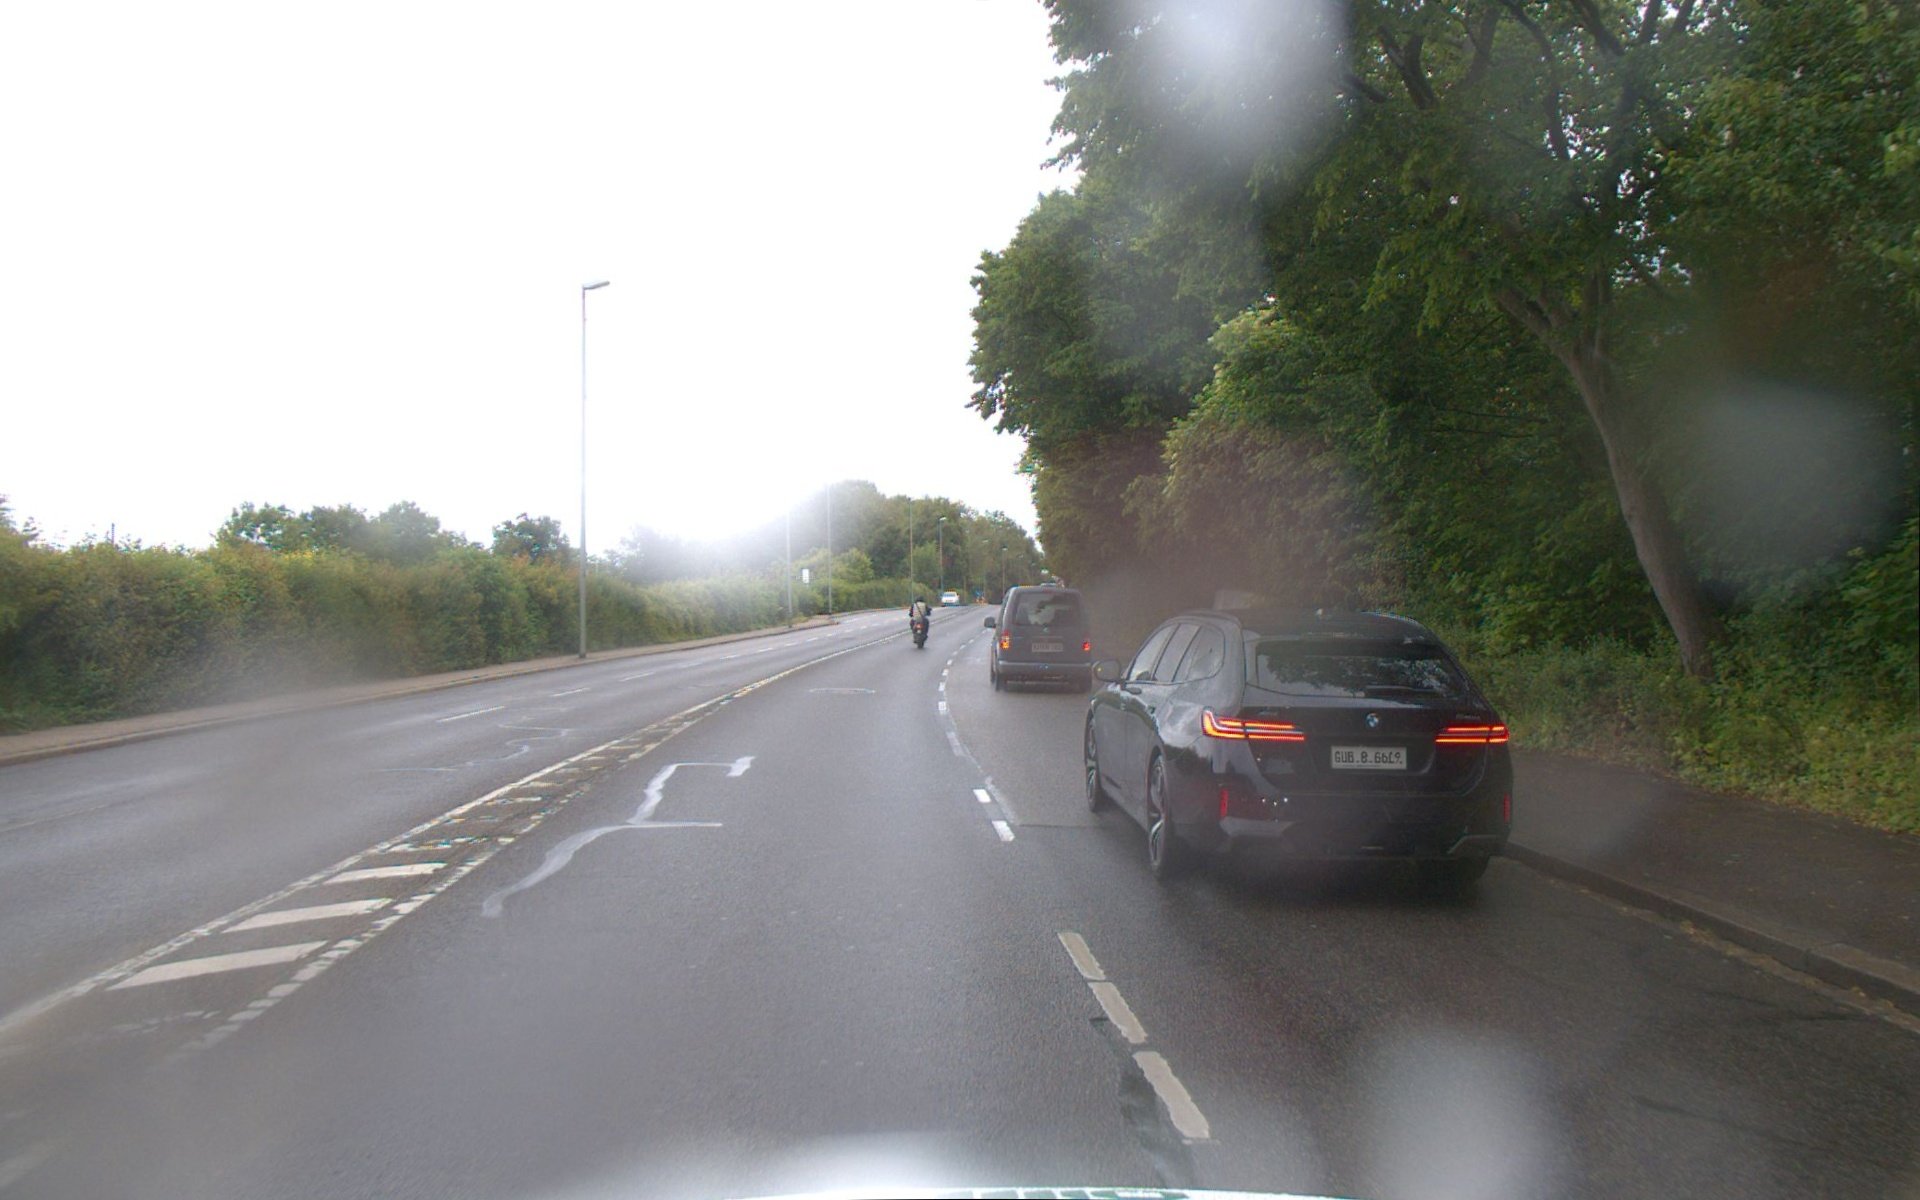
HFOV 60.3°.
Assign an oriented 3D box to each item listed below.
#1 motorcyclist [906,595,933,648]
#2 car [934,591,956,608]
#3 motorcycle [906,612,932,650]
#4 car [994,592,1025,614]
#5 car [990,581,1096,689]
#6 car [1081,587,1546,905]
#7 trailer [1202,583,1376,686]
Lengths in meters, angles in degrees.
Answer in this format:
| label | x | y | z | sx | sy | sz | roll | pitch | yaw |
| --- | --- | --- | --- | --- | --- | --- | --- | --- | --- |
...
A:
| label | x | y | z | sx | sy | sz | roll | pitch | yaw |
| --- | --- | --- | --- | --- | --- | --- | --- | --- | --- |
| motorcyclist | -1.285 | 0.673 | 52.604 | 0.827 | 1.675 | 0.468 | 0 | 1 | 2 |
| car | -1.612 | -0.029 | 175.718 | 1.716 | 1.691 | 3.847 | 1 | 1 | -9 |
| motorcycle | -1.299 | 0.963 | 52.581 | 0.726 | 1.139 | 1.427 | 1 | 1 | 3 |
| car | 3.596 | 0.219 | 119.319 | 1.972 | 1.440 | 4.490 | 1 | 2 | 5 |
| car | 1.462 | 0.579 | 30.323 | 1.731 | 1.841 | 3.905 | 0 | 0 | 0 |
| car | 1.925 | 0.748 | 10.145 | 1.730 | 1.563 | 3.668 | 2 | 0 | -6 |
| trailer | 6.950 | 0.713 | 35.069 | 3.282 | 1.675 | 1.198 | 8 | 0 | 0 |
